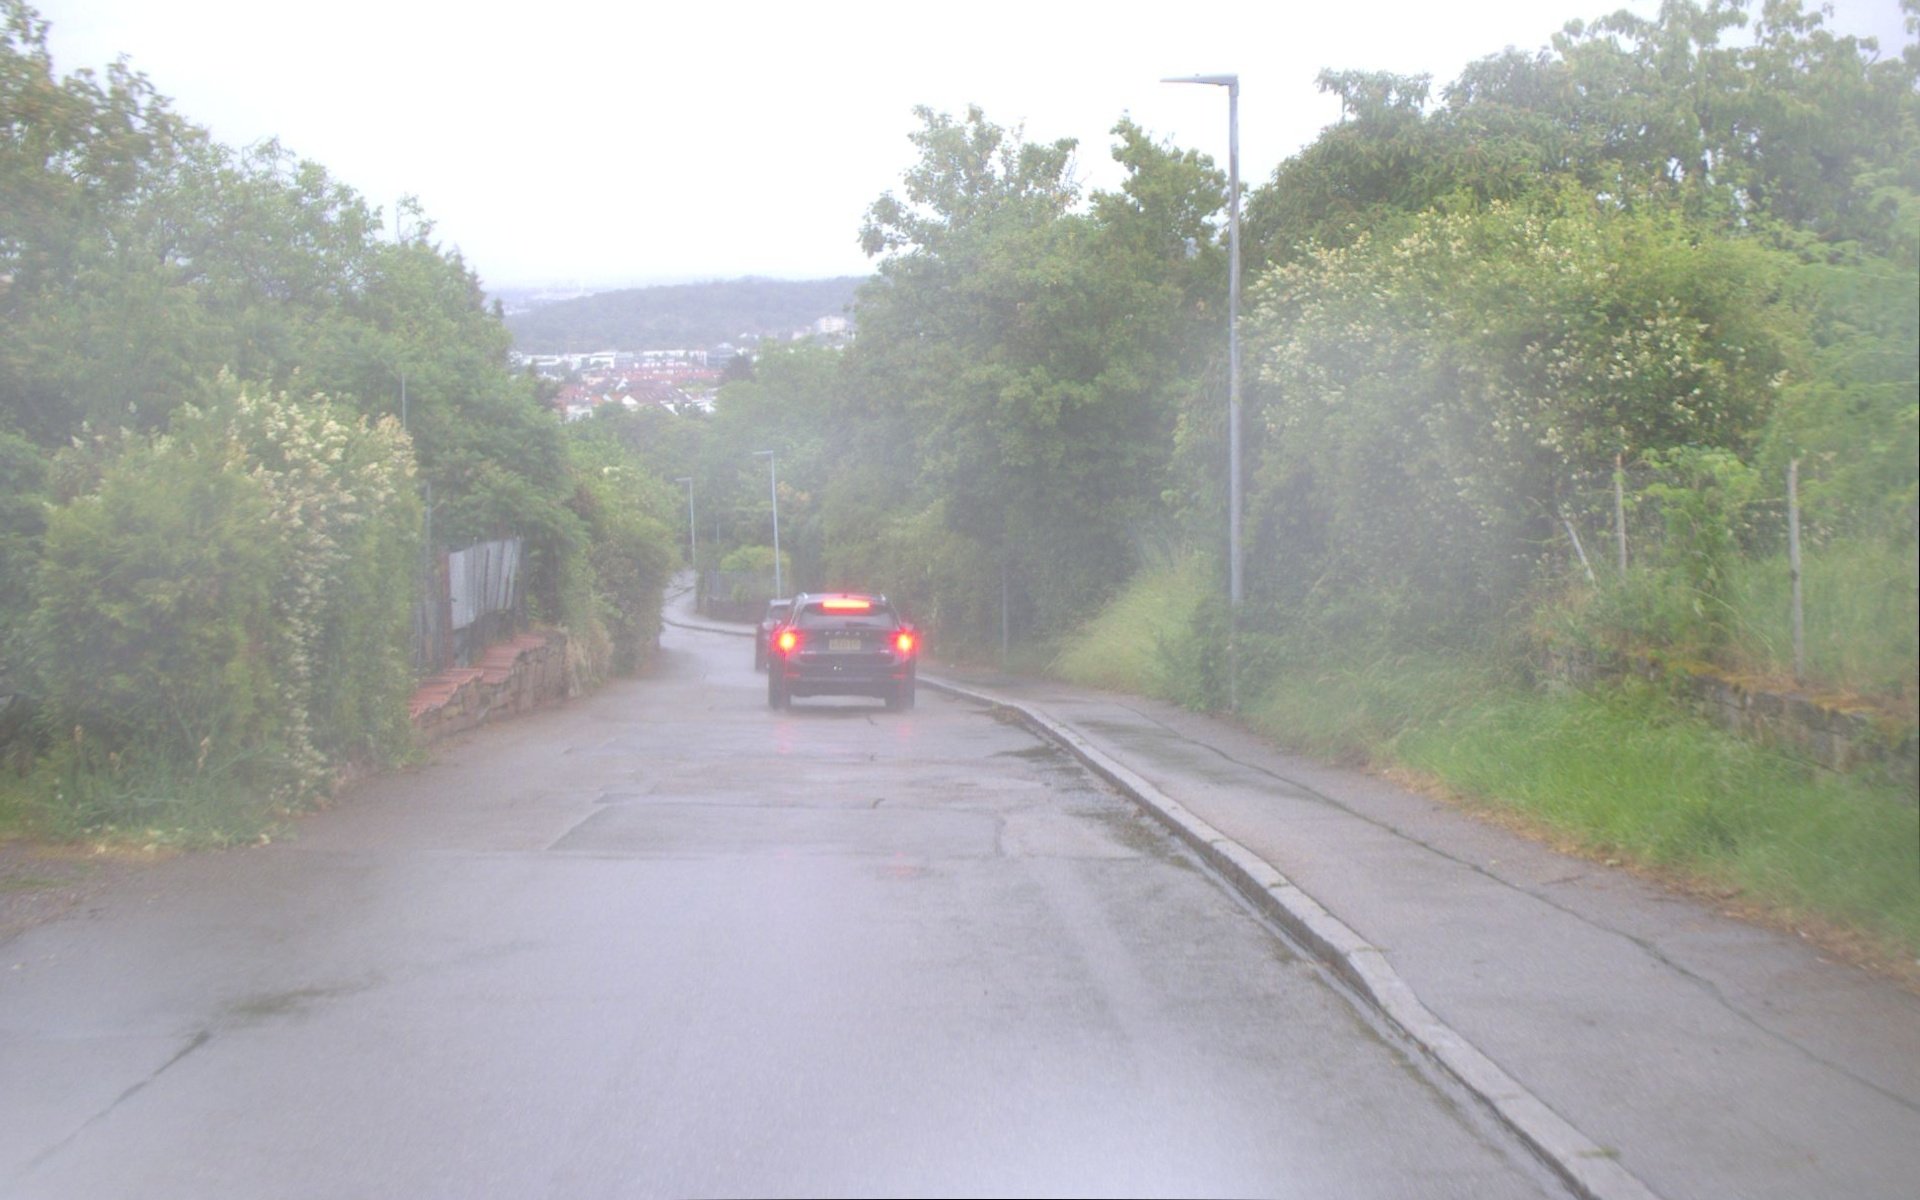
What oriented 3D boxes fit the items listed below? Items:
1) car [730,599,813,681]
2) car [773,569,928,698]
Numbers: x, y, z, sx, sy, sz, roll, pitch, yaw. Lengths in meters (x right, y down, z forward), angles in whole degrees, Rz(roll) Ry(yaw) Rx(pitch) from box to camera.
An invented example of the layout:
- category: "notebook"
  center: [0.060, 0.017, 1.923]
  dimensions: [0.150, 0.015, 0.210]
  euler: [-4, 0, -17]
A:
- category: "car"
  center: [-4.036, 0.839, 73.975]
  dimensions: [1.678, 1.560, 3.795]
  euler: [0, 2, -2]
- category: "car"
  center: [-1.420, 0.377, 43.182]
  dimensions: [1.834, 1.459, 4.001]
  euler: [-1, 1, -3]
